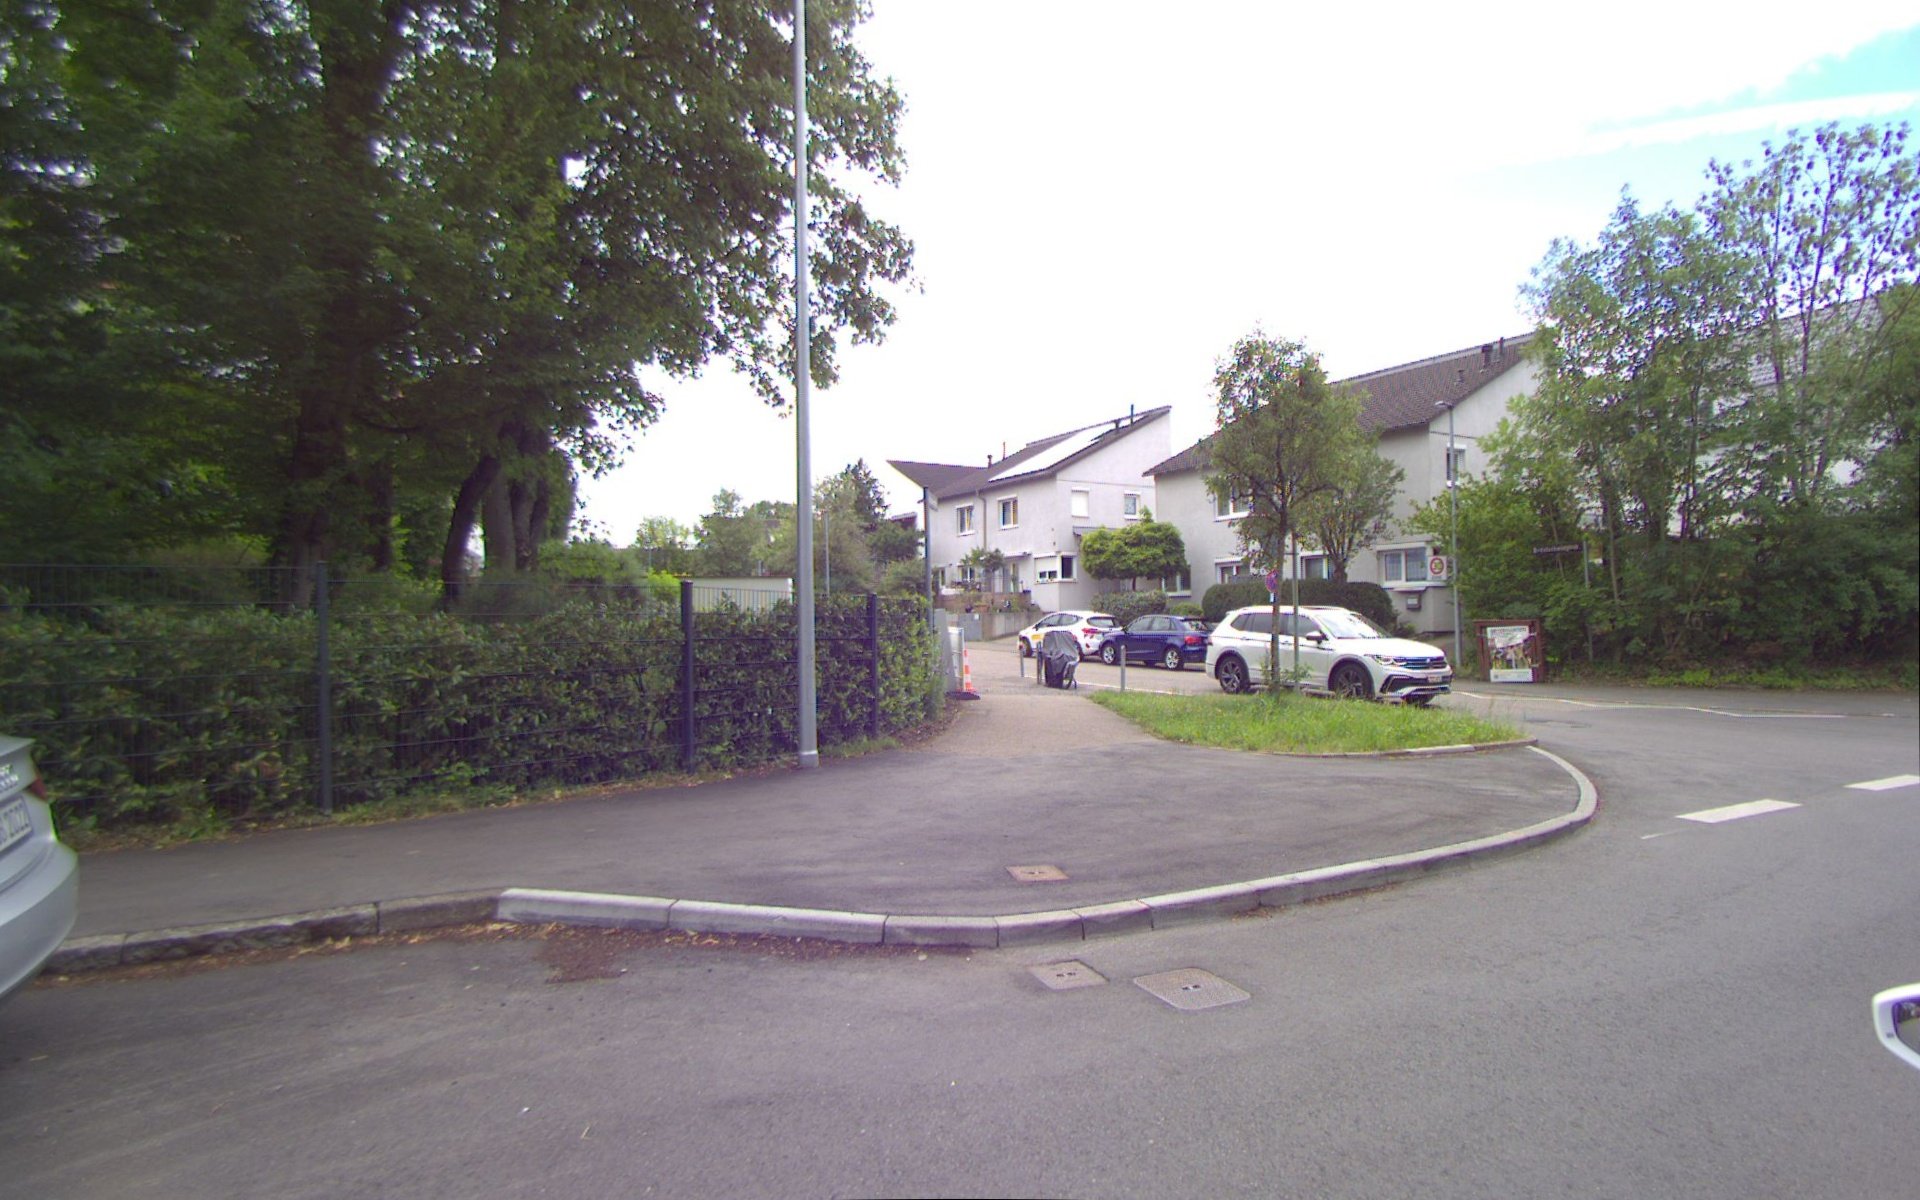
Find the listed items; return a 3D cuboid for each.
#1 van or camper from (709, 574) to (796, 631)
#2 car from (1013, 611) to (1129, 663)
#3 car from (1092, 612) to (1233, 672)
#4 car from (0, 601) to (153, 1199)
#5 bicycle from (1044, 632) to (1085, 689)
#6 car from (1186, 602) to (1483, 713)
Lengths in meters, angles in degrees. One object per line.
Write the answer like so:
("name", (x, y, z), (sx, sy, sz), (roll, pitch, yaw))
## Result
("van or camper", (-11.419, 0.127, 54.752), (2.280, 2.883, 7.556), (0, 0, -31))
("car", (3.289, 1.062, 30.332), (1.513, 1.431, 3.764), (0, 0, -31))
("car", (5.307, 1.047, 26.638), (1.655, 1.431, 3.517), (0, 0, -35))
("car", (-4.425, 0.696, 1.799), (4.393, 1.392, 1.822), (1, 1, -31))
("bicycle", (2.088, 1.192, 20.310), (0.639, 1.015, 2.586), (1, 0, 2))
("car", (6.540, 0.913, 18.199), (2.013, 1.692, 4.913), (1, 0, -29))
